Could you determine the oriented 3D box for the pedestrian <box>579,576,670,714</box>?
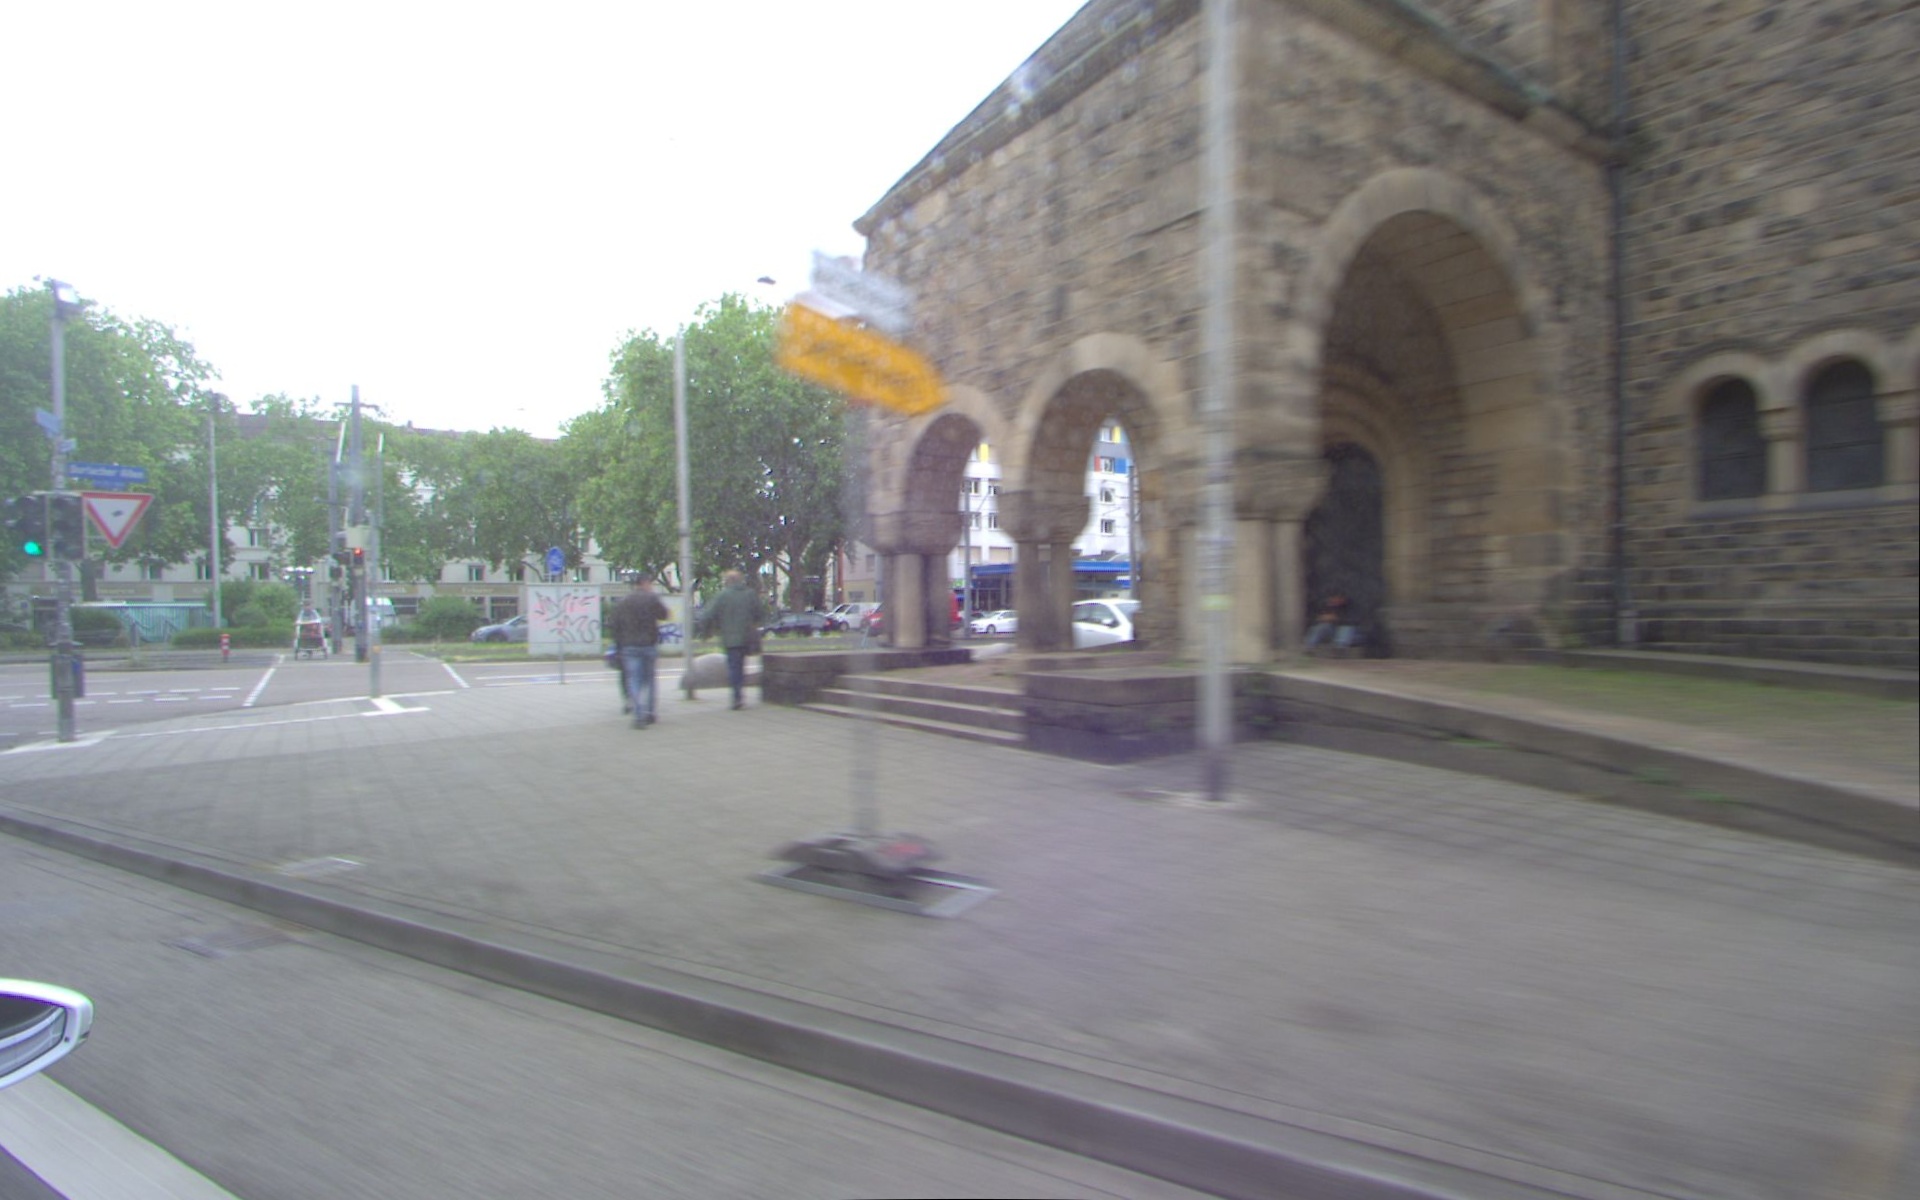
[{"bbox_3d":[-4.310,0.554,12.857,0.957,1.696,0.630,0,3,39],"label":"pedestrian"}]

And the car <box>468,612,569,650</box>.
[{"bbox_3d":[-20.072,1.384,45.571,3.937,1.582,1.676,-1,0,-35],"label":"car"}]

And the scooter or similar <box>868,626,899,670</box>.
[{"bbox_3d":[-1.939,1.208,25.380,0.762,1.067,0.238,-1,0,-32],"label":"scooter or similar"}]

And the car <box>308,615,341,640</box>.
[{"bbox_3d":[-40.803,1.745,64.377,1.646,1.535,3.916,0,0,-31],"label":"car"}]

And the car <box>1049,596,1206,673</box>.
[{"bbox_3d":[3.649,0.739,22.316,1.595,1.550,3.448,-1,0,-31],"label":"car"}]

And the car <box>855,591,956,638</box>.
[{"bbox_3d":[-3.046,0.796,56.728,5.538,2.572,1.979,-1,0,-35],"label":"car"}]

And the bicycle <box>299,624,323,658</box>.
[{"bbox_3d":[-20.337,1.258,31.373,0.546,1.009,2.047,-1,0,-35],"label":"bicycle"}]

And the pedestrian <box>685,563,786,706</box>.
[{"bbox_3d":[-2.937,0.429,13.119,0.955,1.783,0.802,0,3,32],"label":"pedestrian"}]

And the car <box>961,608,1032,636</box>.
[{"bbox_3d":[2.204,1.320,60.550,4.095,1.550,1.676,-1,0,-35],"label":"car"}]

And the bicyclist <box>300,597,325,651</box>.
[{"bbox_3d":[-20.379,0.749,31.502,0.608,1.676,0.749,-1,0,-36],"label":"bicyclist"}]

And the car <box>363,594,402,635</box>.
[{"bbox_3d":[-38.806,0.958,67.231,2.211,2.674,5.417,-1,0,-31],"label":"car"}]

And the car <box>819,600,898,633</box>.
[{"bbox_3d":[-6.865,1.116,68.244,5.021,2.123,1.980,-1,0,-35],"label":"car"}]

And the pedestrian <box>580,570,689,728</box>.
[{"bbox_3d":[-3.714,0.534,11.449,0.955,1.709,0.672,0,3,33],"label":"pedestrian"}]

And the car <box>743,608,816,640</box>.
[{"bbox_3d":[-9.460,1.261,52.542,3.422,1.582,1.676,-1,0,-35],"label":"car"}]

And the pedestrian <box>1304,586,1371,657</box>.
[{"bbox_3d":[5.231,0.291,13.885,0.665,0.964,0.611,-1,0,-35],"label":"pedestrian"}]

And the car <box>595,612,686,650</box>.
[{"bbox_3d":[-15.518,1.482,48.642,3.898,1.734,1.676,-1,0,-35],"label":"car"}]
